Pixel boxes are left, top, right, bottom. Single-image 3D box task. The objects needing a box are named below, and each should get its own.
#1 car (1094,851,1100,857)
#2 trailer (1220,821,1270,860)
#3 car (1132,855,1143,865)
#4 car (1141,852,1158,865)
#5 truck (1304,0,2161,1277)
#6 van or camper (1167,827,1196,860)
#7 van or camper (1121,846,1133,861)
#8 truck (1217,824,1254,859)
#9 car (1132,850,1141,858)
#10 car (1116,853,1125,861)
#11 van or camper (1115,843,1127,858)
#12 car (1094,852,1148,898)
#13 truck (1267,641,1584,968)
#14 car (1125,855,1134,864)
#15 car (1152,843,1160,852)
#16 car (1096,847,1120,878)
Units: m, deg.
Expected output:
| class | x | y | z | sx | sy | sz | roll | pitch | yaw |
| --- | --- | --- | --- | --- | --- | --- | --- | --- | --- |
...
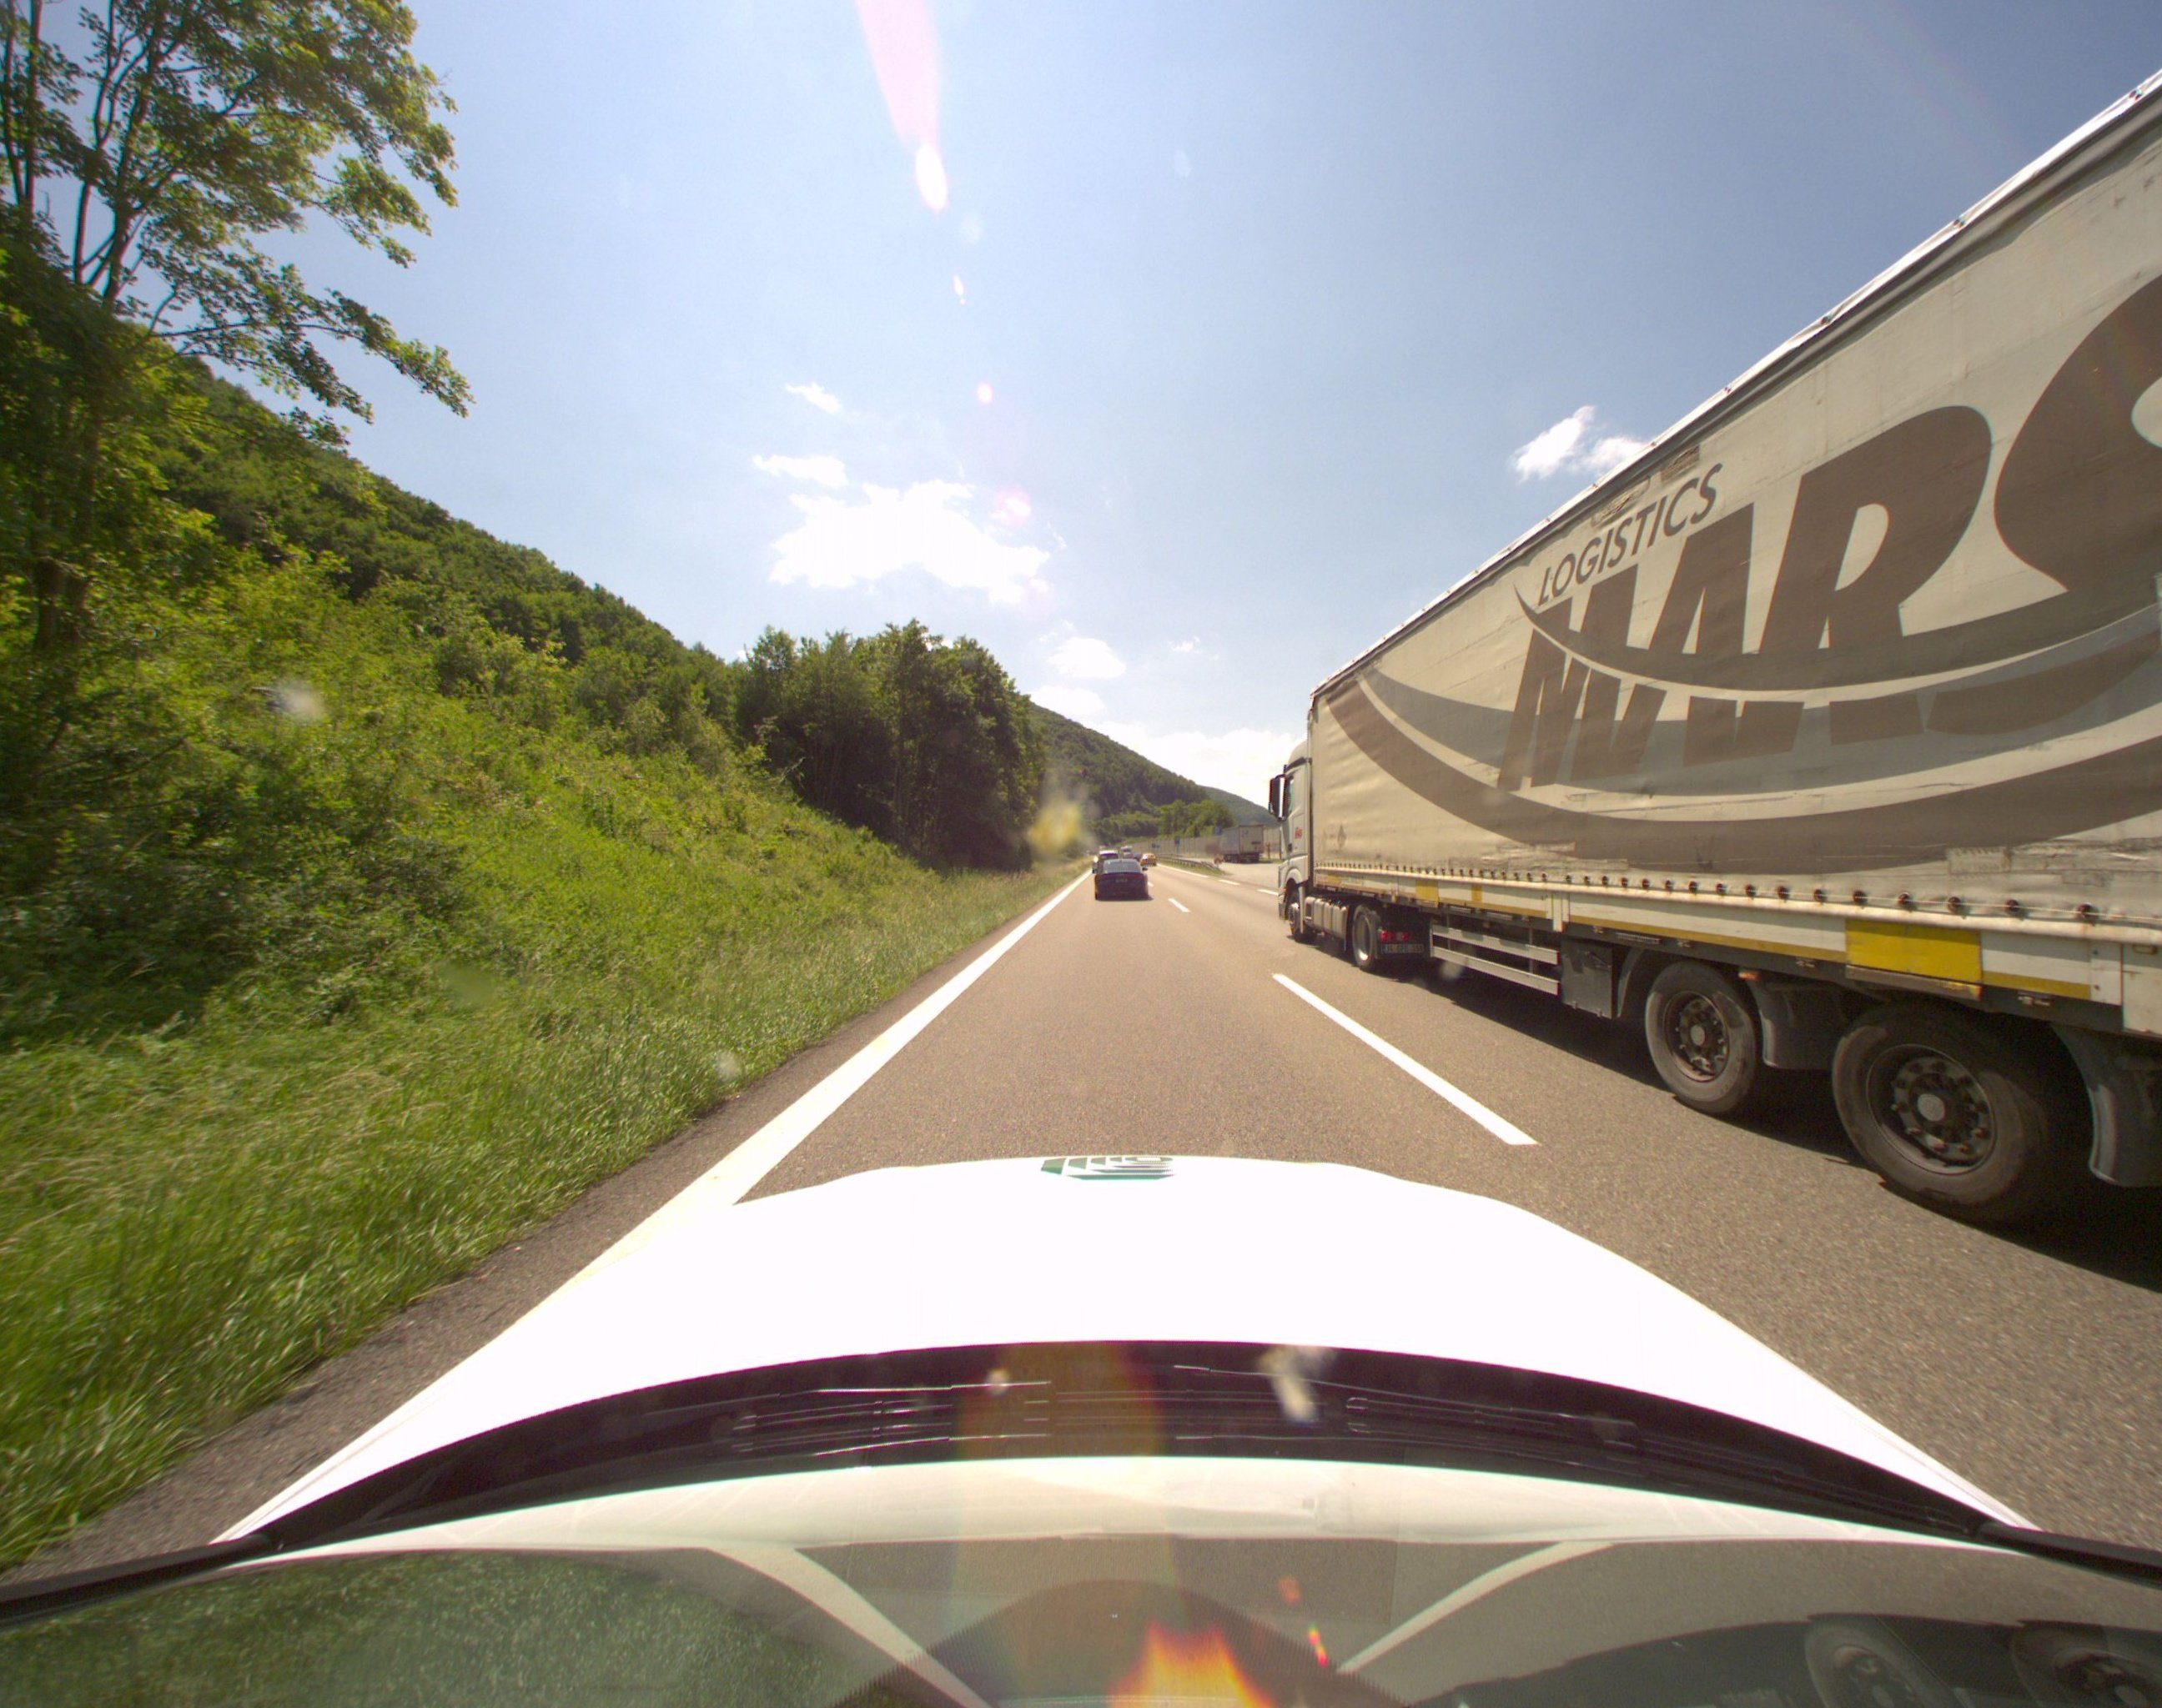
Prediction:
| class | x | y | z | sx | sy | sz | roll | pitch | yaw |
| --- | --- | --- | --- | --- | --- | --- | --- | --- | --- |
| car | 4.954 | -0.019 | 247.937 | 1.681 | 2.013 | 4.001 | -1 | 0 | 1 |
| trailer | 17.788 | -1.413 | 89.145 | 3.399 | 3.900 | 11.155 | -1 | 0 | 2 |
| car | 8.211 | 0.884 | 117.995 | 1.524 | 1.525 | 3.598 | 1 | -1 | 2 |
| car | 8.138 | 0.565 | 97.290 | 1.871 | 1.499 | 4.002 | -1 | 0 | 2 |
| truck | 4.796 | -0.671 | 6.100 | 2.716 | 4.068 | 13.743 | 0 | -1 | 1 |
| van or camper | 12.073 | -1.176 | 98.576 | 2.786 | 3.841 | 6.166 | 1 | -1 | 0 |
| van or camper | 9.654 | -0.041 | 172.306 | 2.420 | 3.155 | 5.205 | 1 | -1 | 2 |
| truck | 17.935 | -1.422 | 95.014 | 3.399 | 3.900 | 5.389 | -1 | 0 | 1 |
| car | 14.730 | 0.078 | 216.100 | 1.987 | 2.013 | 4.000 | -1 | 0 | 0 |
| car | 9.753 | 0.778 | 199.877 | 1.986 | 1.794 | 4.001 | 1 | -1 | 1 |
| van or camper | 10.789 | -0.799 | 218.805 | 2.786 | 3.907 | 6.166 | 1 | -1 | 0 |
| car | 1.425 | 0.721 | 29.315 | 1.805 | 1.514 | 3.516 | -1 | 0 | 2 |
| truck | 4.934 | -0.586 | 13.009 | 2.709 | 4.068 | 5.755 | 0 | -1 | 1 |
| car | 8.324 | 0.931 | 139.777 | 1.524 | 1.525 | 3.598 | 1 | -1 | 2 |
| car | 16.465 | -1.374 | 178.076 | 1.570 | 2.013 | 3.430 | -1 | 0 | 2 |
| car | 1.830 | 0.587 | 54.714 | 1.515 | 1.968 | 3.515 | 1 | 0 | 1 |
